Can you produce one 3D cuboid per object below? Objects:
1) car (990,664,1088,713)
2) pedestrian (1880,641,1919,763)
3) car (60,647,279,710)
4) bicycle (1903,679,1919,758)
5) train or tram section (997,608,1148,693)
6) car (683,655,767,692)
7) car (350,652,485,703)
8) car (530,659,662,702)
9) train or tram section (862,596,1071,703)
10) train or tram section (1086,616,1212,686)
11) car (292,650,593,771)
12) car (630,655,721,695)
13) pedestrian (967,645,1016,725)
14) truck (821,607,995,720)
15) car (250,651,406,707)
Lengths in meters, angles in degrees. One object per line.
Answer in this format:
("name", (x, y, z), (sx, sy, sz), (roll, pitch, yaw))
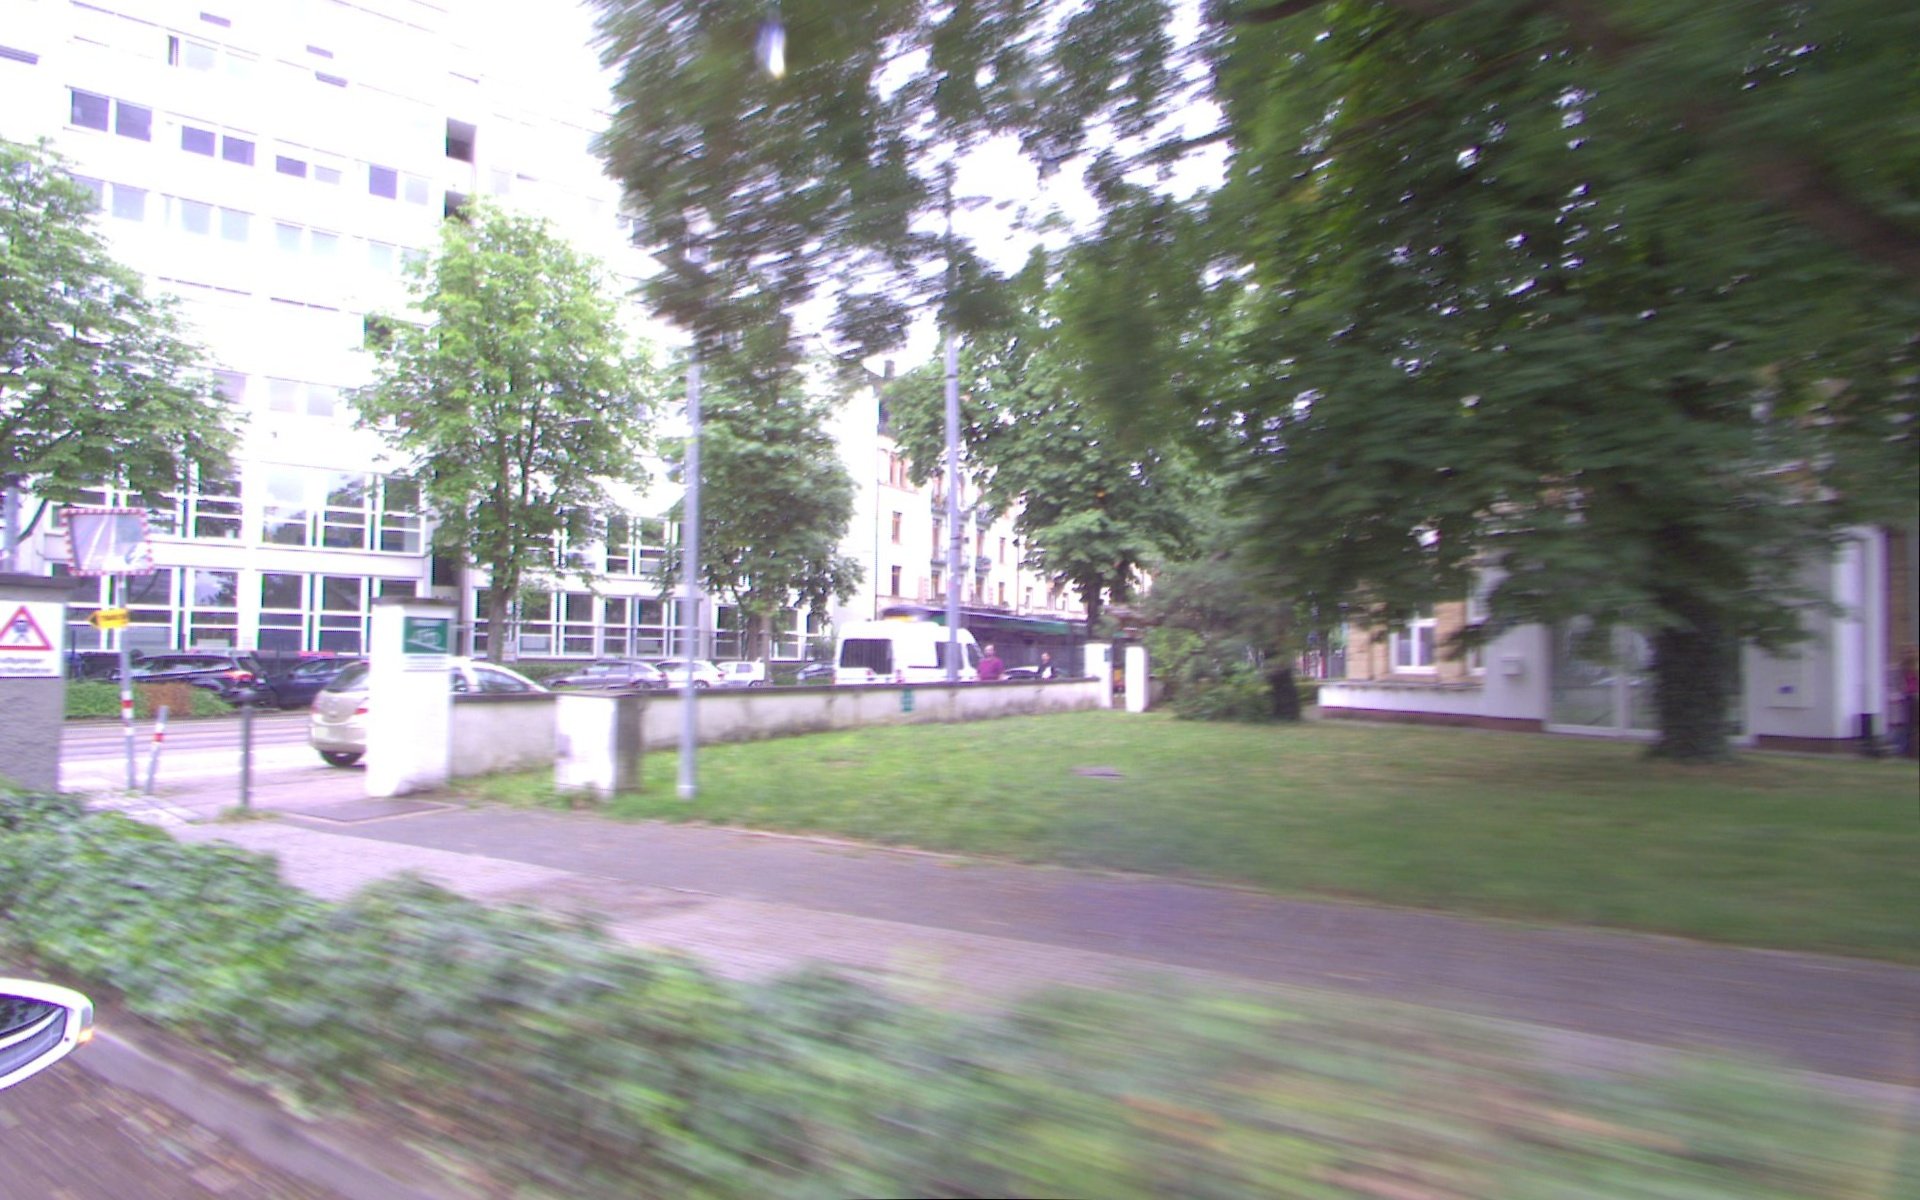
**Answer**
("car", (2.567, 2.756, 31.794), (1.783, 1.371, 3.800), (-1, -3, 27))
("pedestrian", (12.872, 1.354, 13.440), (0.596, 1.606, 0.624), (2, -2, -33))
("car", (-19.528, 1.928, 24.924), (3.885, 1.492, 1.671), (1, -3, -18))
("bicycle", (14.574, 1.747, 14.805), (1.720, 1.128, 0.458), (3, -3, -31))
("train or tram section", (5.872, 2.509, 49.042), (2.628, 3.659, 12.409), (-1, -3, 30))
("car", (-9.837, 3.067, 41.970), (3.328, 1.492, 1.416), (1, -2, -14))
("car", (-16.503, 2.345, 30.591), (3.328, 1.492, 1.416), (1, -2, -14))
("car", (-13.155, 2.940, 36.448), (4.420, 1.491, 1.416), (1, -5, -18))
("train or tram section", (0.773, 2.015, 40.115), (2.628, 3.659, 12.409), (-1, -3, 30))
("train or tram section", (11.484, 3.025, 58.967), (2.628, 3.659, 14.714), (-1, -3, 30))
("car", (-7.407, 1.525, 14.672), (1.641, 1.519, 3.580), (-1, -4, 30))
("car", (-11.118, 2.941, 39.305), (3.329, 1.492, 1.416), (1, -3, -14))
("pedestrian", (0.721, 1.891, 22.564), (0.795, 1.739, 0.954), (0, -3, 24))
("truck", (-1.187, 1.587, 25.604), (2.137, 2.577, 4.909), (-1, -3, 30))
("car", (-17.407, 2.161, 27.713), (3.328, 1.492, 1.416), (1, -2, -14))
